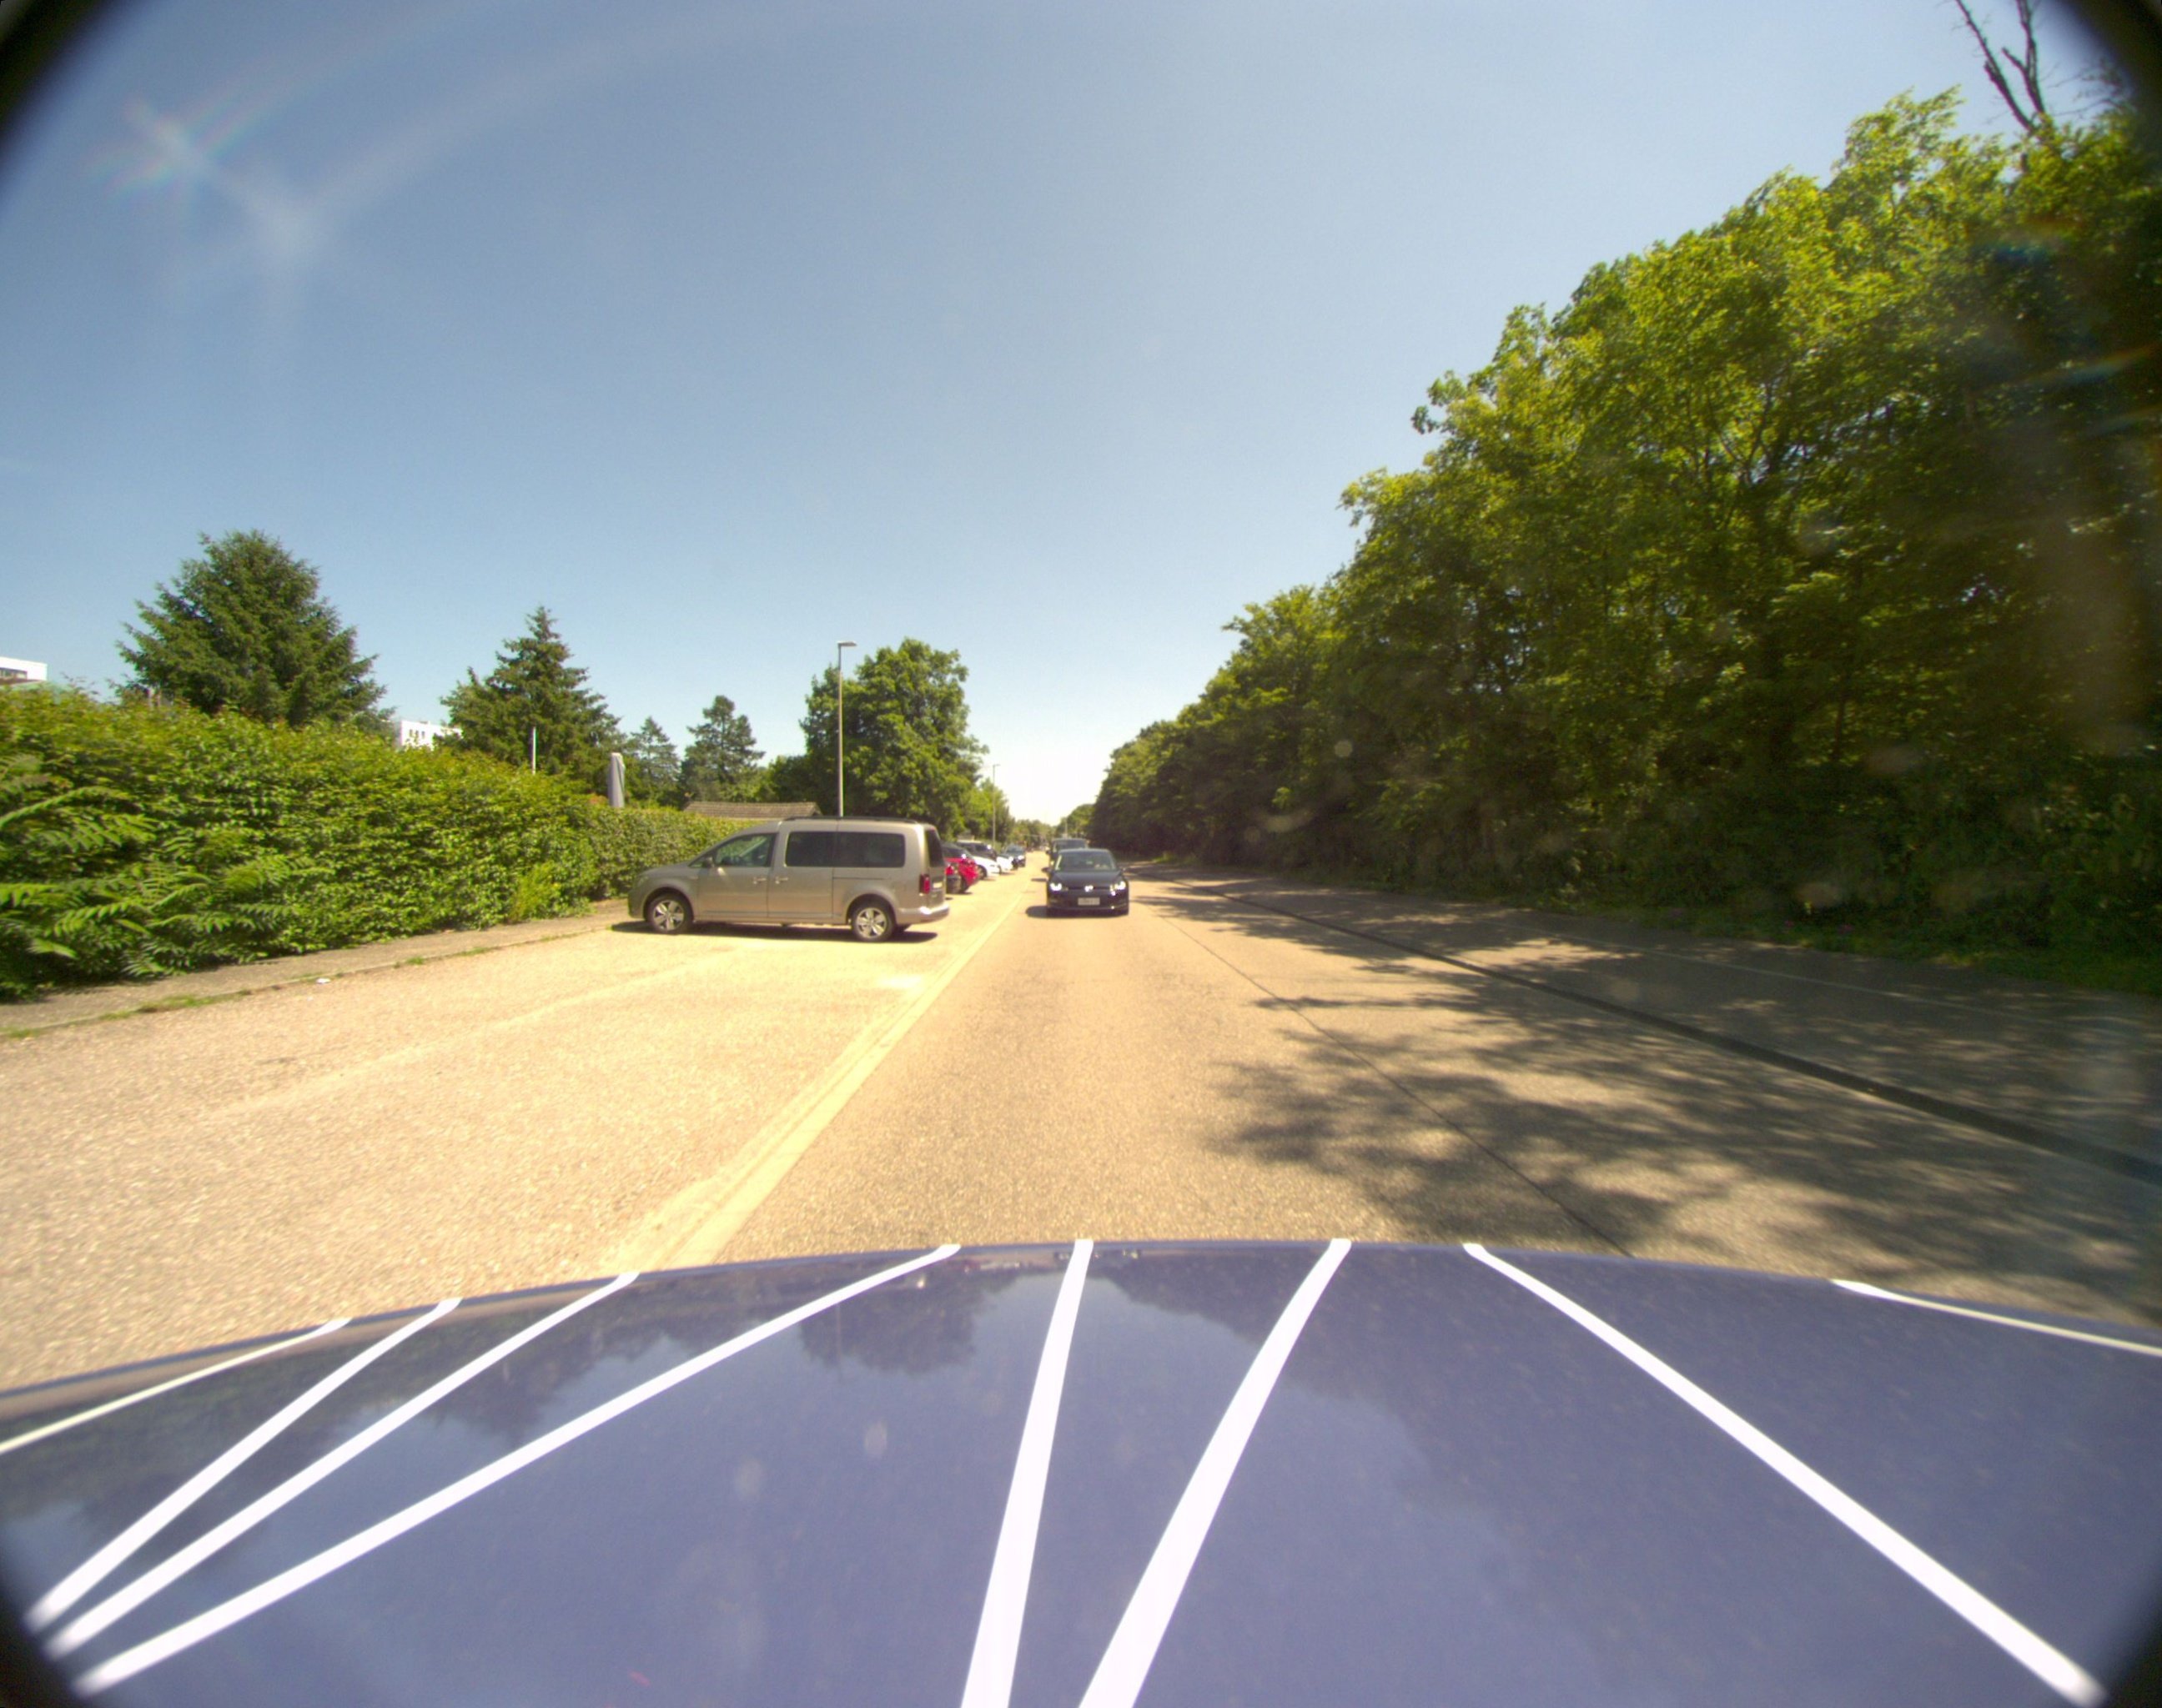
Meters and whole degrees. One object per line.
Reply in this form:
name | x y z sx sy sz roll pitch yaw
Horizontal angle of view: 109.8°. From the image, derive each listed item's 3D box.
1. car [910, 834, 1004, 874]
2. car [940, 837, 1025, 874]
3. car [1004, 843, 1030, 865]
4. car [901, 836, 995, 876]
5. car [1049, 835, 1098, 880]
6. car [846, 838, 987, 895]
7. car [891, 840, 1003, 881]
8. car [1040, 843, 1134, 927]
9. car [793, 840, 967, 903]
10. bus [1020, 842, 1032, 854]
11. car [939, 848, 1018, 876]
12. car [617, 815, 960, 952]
car | -6.145 -0.003 38.014 4.269 1.688 1.853 4 1 -1
car | -5.462 0.060 42.714 4.482 1.694 1.913 4 1 -3
car | -4.875 -0.004 57.967 1.795 1.473 4.662 4 0 -4
car | -6.147 0.087 35.405 4.061 1.540 1.757 4 1 -5
car | -0.413 0.131 35.124 2.002 1.965 4.448 0 1 -4
car | -5.036 0.367 23.659 3.930 1.470 1.844 4 1 -1
car | -5.748 0.269 33.034 4.572 1.431 1.960 4 1 -5
car | 0.129 0.636 17.704 1.887 1.667 4.662 -1 0 0
car | -5.382 0.448 20.763 4.215 1.380 1.840 4 1 -3
bus | -15.439 -1.766 213.400 2.932 3.248 8.327 0 1 -2
car | -5.391 0.397 40.467 4.008 1.444 1.831 0 1 -2
car | -4.420 0.434 12.077 4.633 1.838 1.995 2 1 -1
